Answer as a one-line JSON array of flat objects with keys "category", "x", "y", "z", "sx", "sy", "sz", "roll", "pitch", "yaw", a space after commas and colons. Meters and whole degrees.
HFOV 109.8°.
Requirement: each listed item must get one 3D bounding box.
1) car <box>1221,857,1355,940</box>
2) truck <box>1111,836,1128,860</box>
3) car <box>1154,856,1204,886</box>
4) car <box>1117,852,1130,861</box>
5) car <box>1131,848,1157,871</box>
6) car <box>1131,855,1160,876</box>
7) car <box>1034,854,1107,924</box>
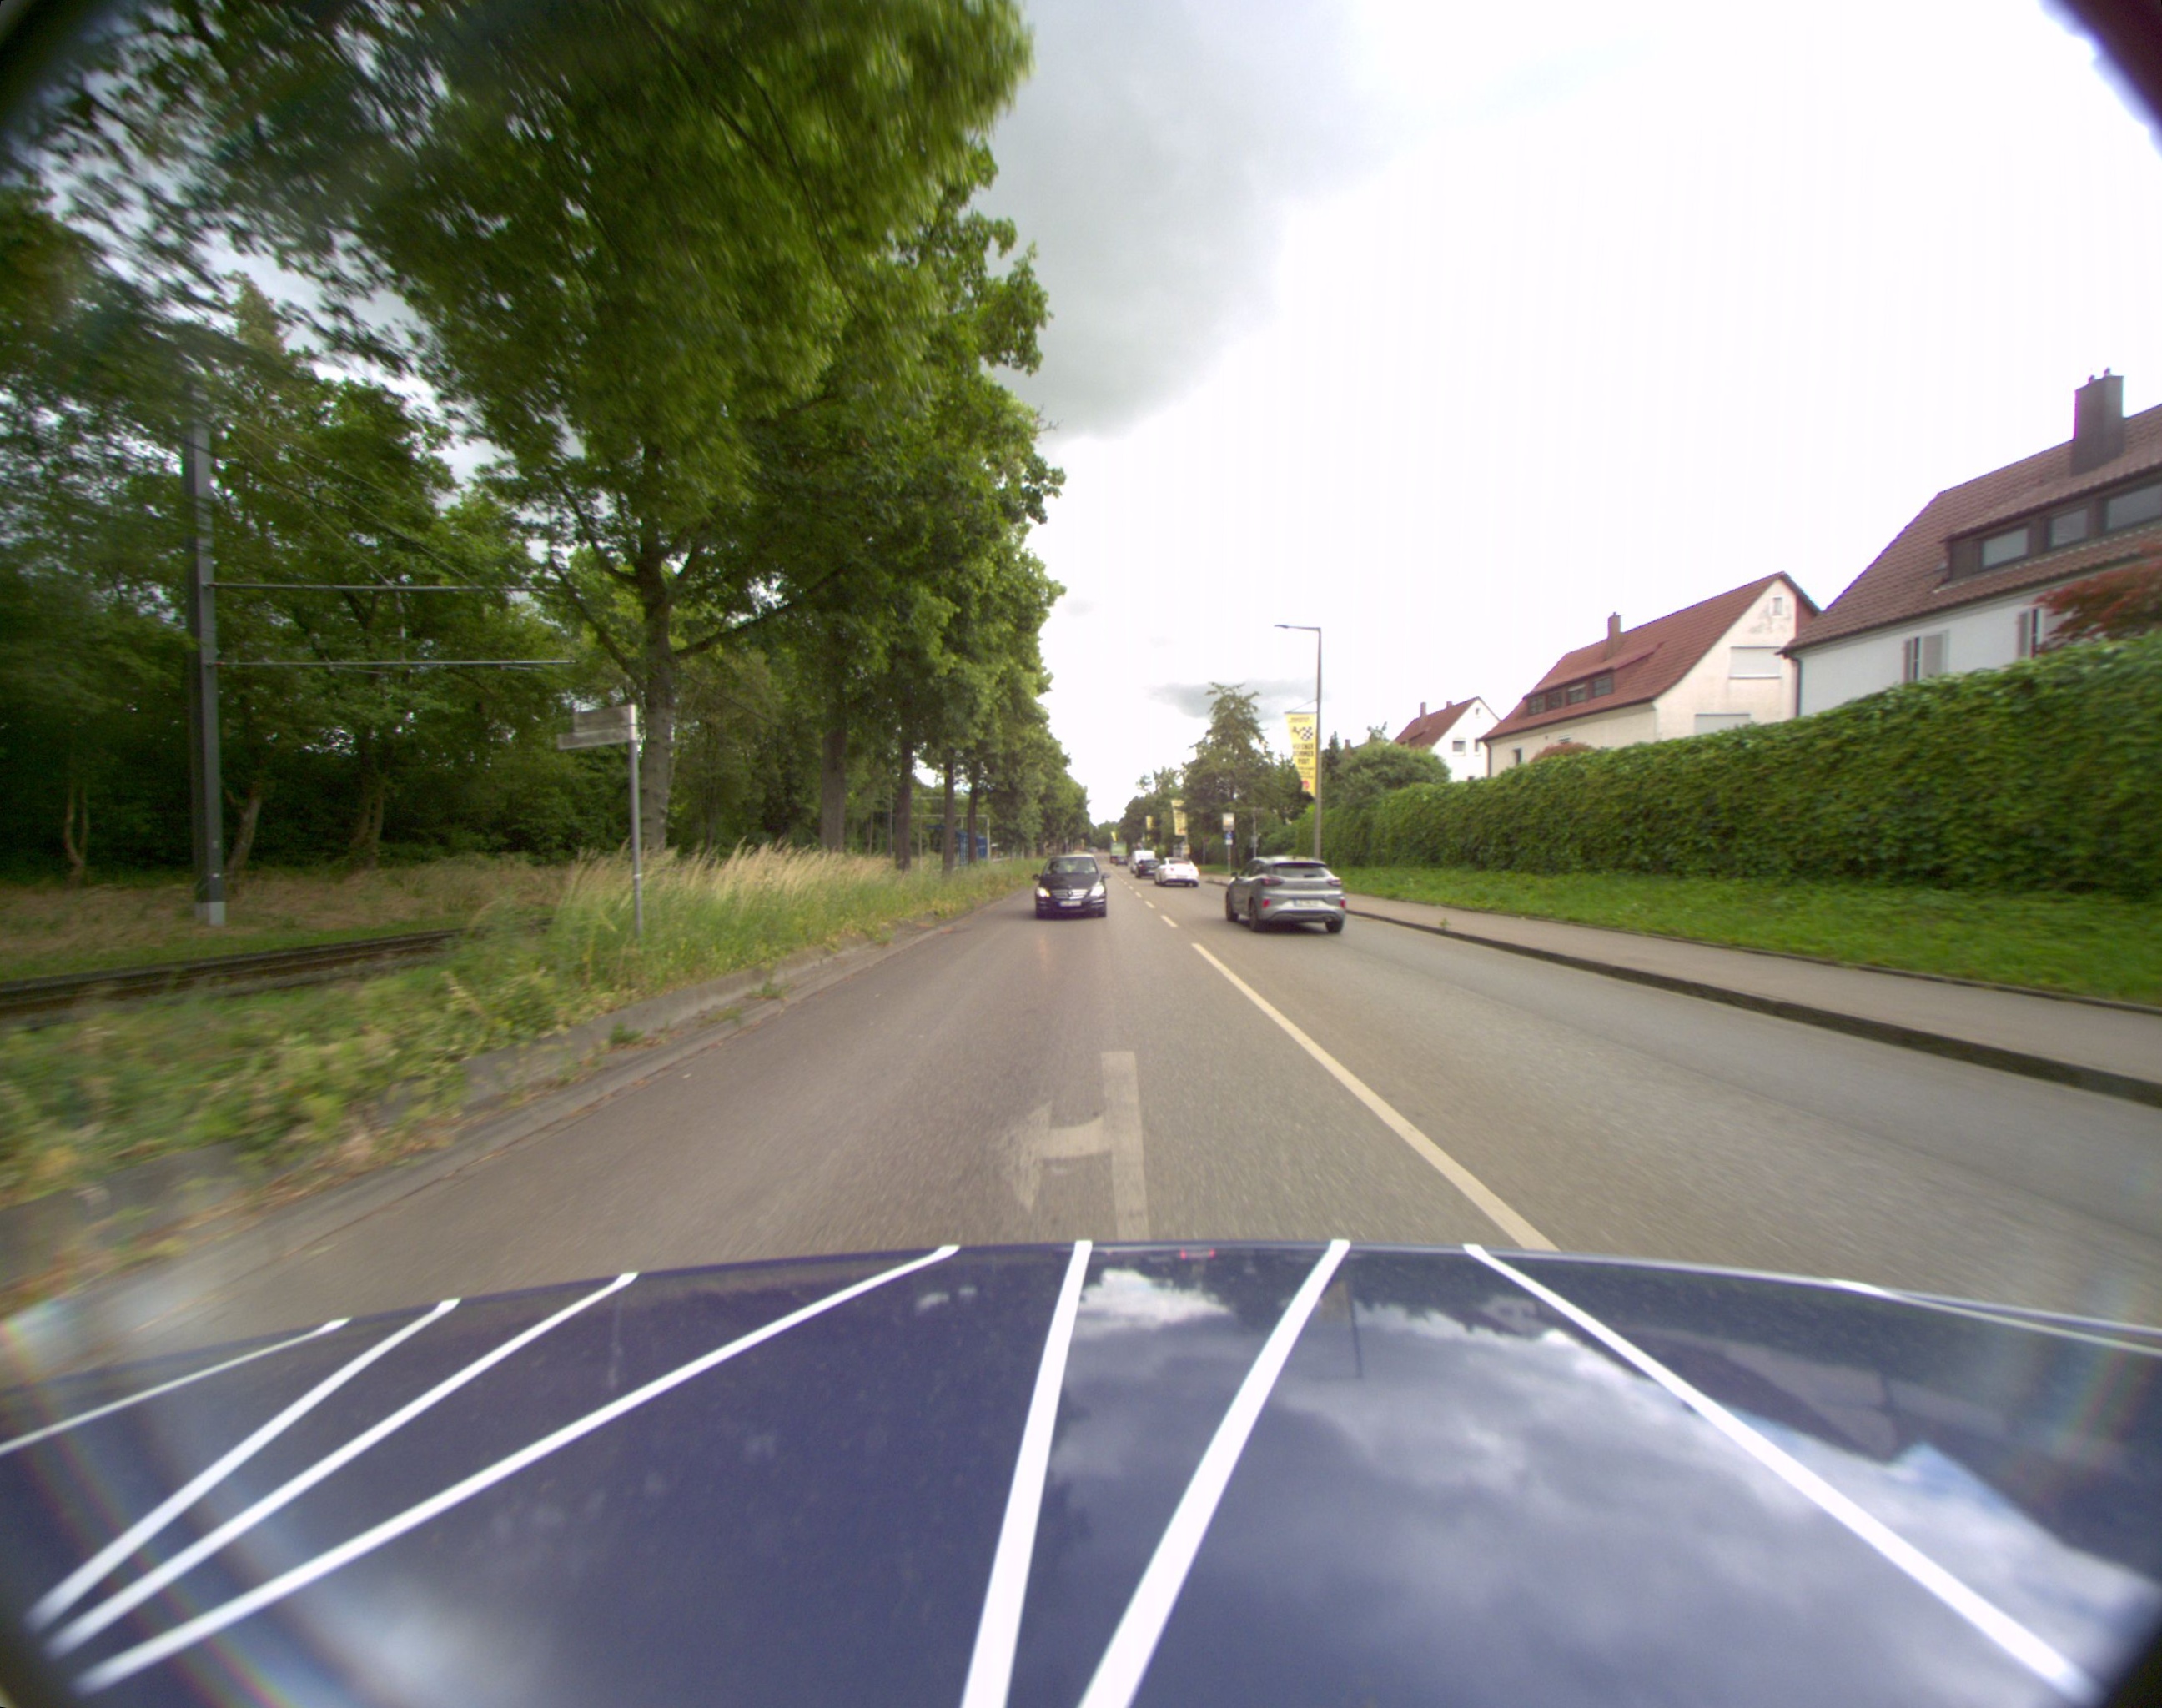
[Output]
[{"category": "car", "x": 4.265, "y": 0.845, "z": 16.286, "sx": 1.756, "sy": 1.510, "sz": 4.000, "roll": 2, "pitch": 0, "yaw": 0}, {"category": "truck", "x": 6.953, "y": -1.122, "z": 139.559, "sx": 2.556, "sy": 4.020, "sz": 10.618, "roll": 2, "pitch": 1, "yaw": 0}, {"category": "car", "x": 4.820, "y": 0.810, "z": 38.001, "sx": 1.891, "sy": 1.375, "sz": 4.490, "roll": 1, "pitch": 0, "yaw": 0}, {"category": "car", "x": 6.302, "y": 0.389, "z": 113.077, "sx": 1.737, "sy": 1.367, "sz": 4.239, "roll": 0, "pitch": 0, "yaw": 1}, {"category": "car", "x": 5.472, "y": 0.415, "z": 66.465, "sx": 1.911, "sy": 1.921, "sz": 4.911, "roll": 0, "pitch": 0, "yaw": 1}, {"category": "car", "x": 4.342, "y": 0.765, "z": 51.433, "sx": 1.655, "sy": 1.340, "sz": 4.477, "roll": 1, "pitch": 0, "yaw": 1}, {"category": "car", "x": -0.220, "y": 0.834, "z": 20.311, "sx": 1.683, "sy": 1.565, "sz": 4.482, "roll": -2, "pitch": 0, "yaw": 1}]
